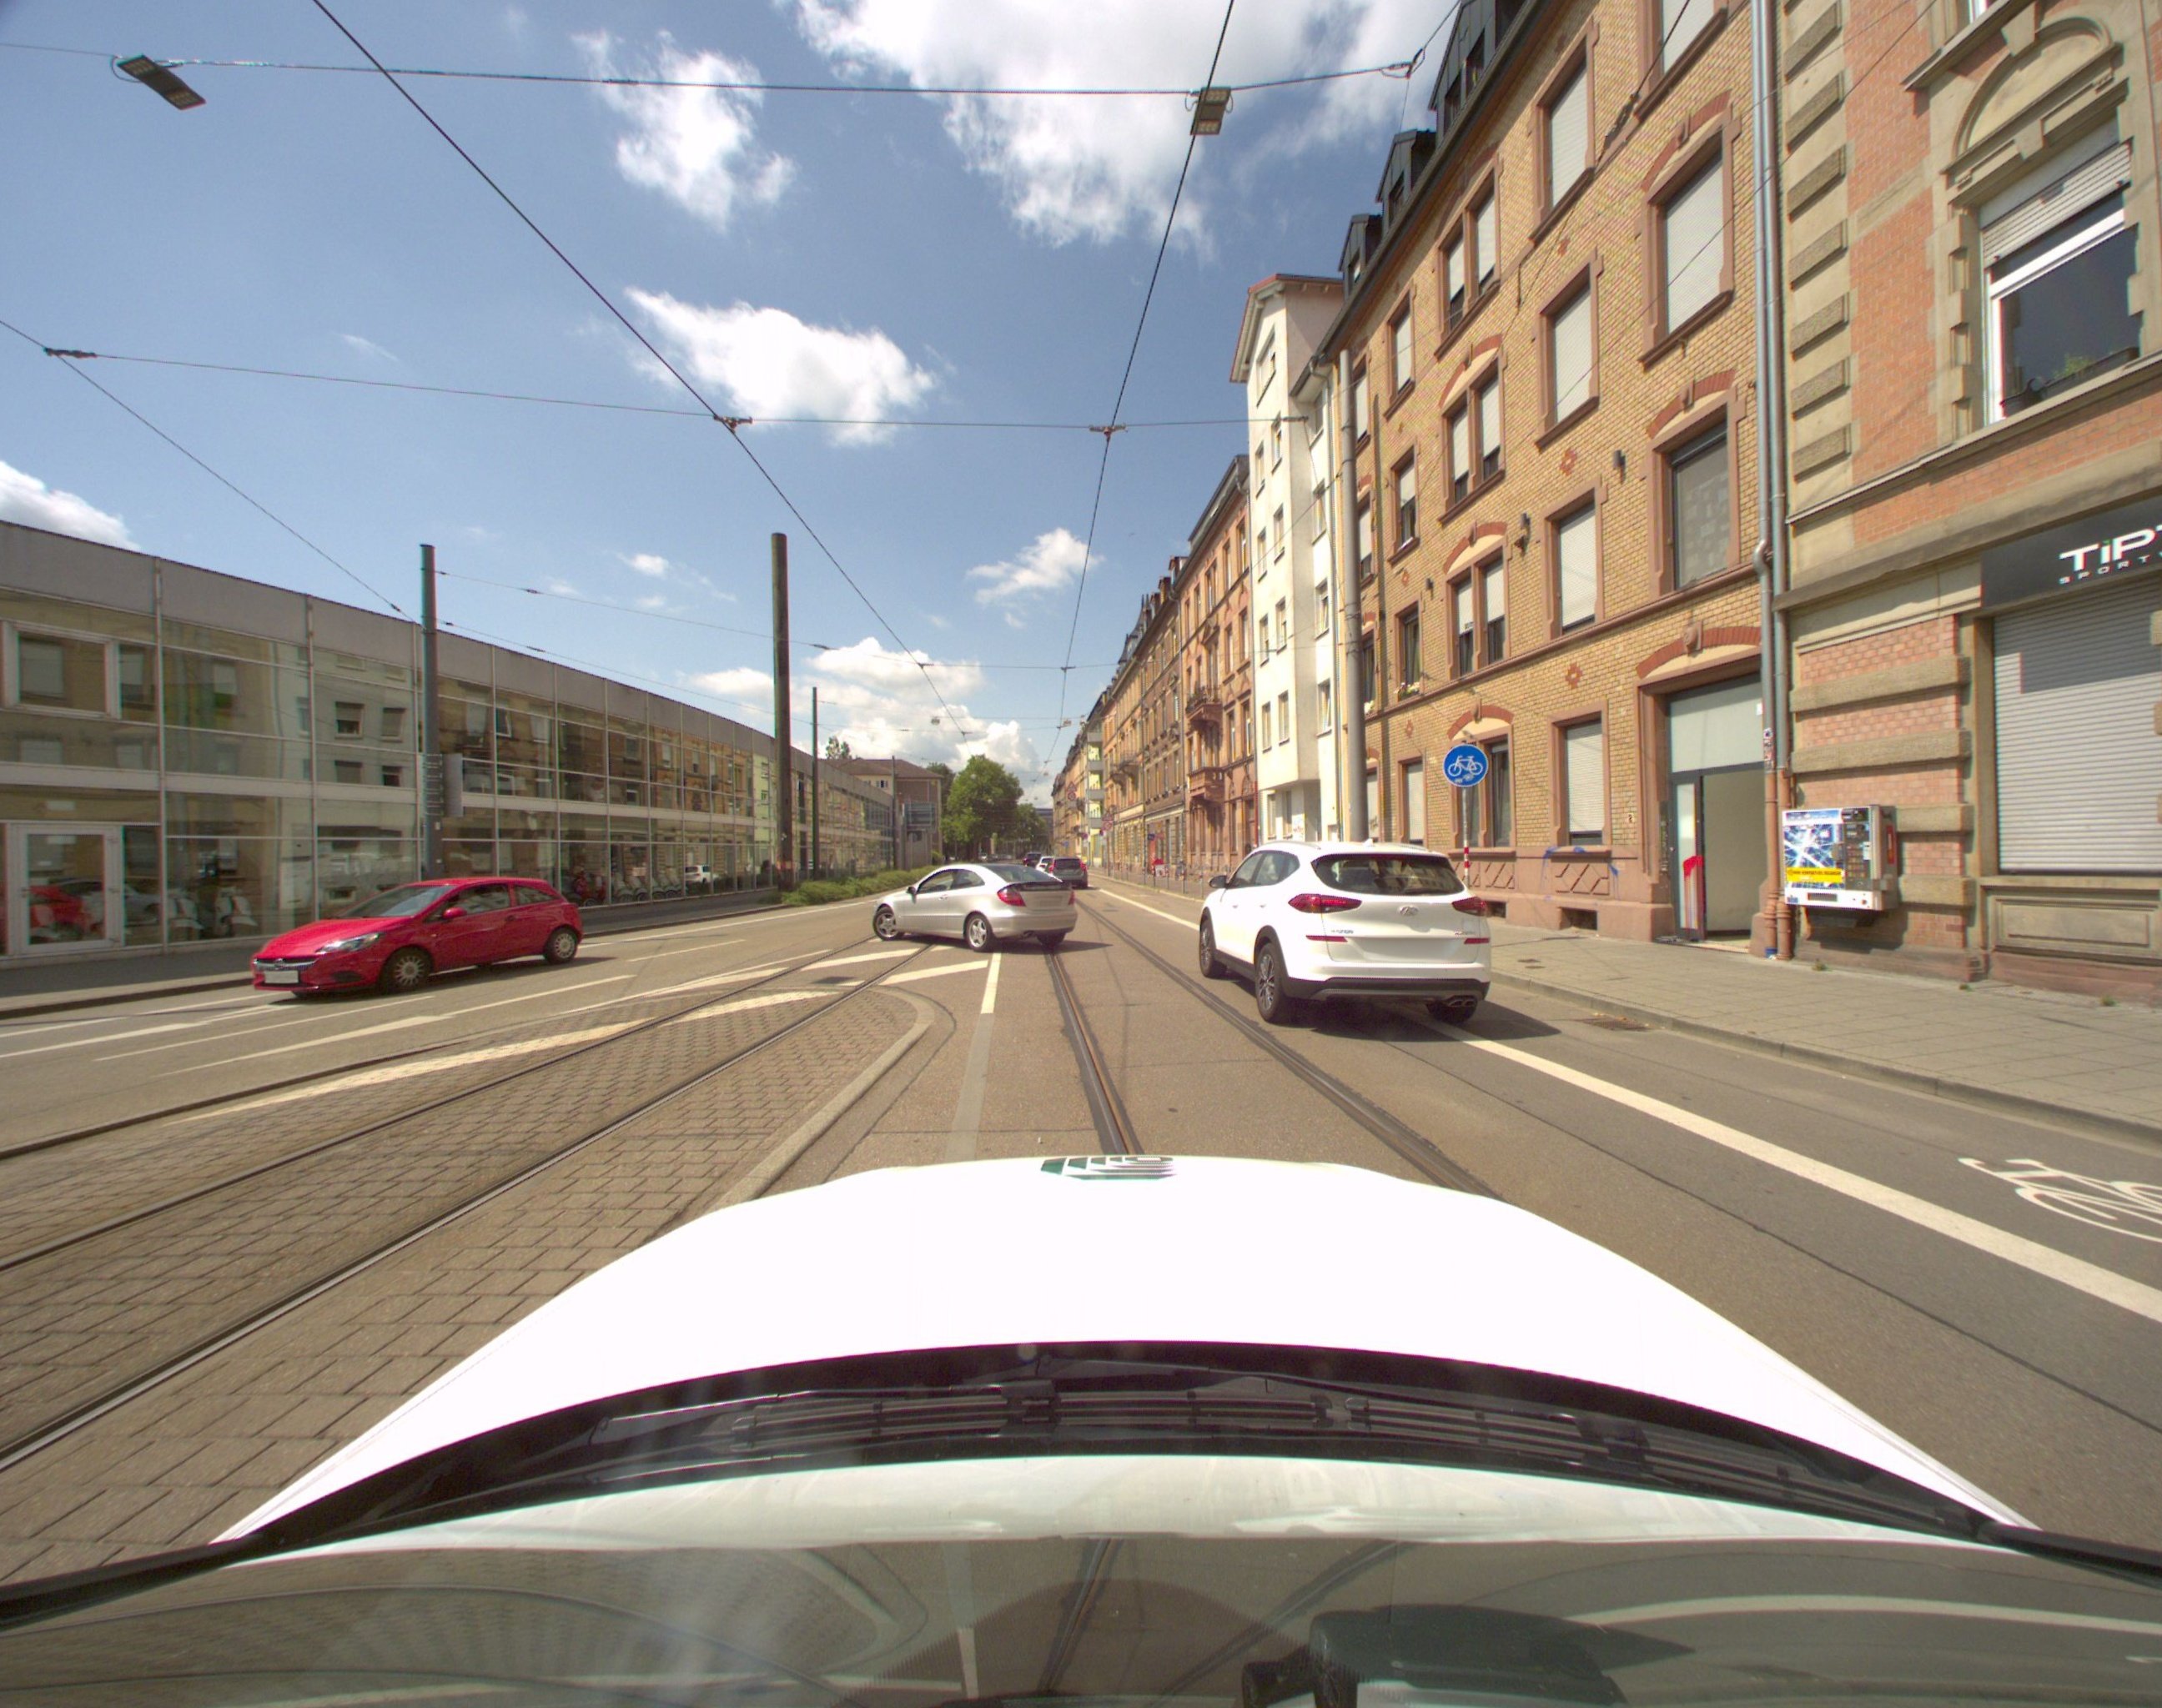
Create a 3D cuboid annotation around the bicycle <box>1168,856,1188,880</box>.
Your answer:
[{"bbox_3d":[4.954,0.691,41.730,0.585,1.178,2.202,-2,0,-4],"label":"bicycle"}]

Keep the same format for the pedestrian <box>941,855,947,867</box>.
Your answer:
[{"bbox_3d":[-20.984,1.067,124.707,0.878,1.865,1.079,-2,0,-5],"label":"pedestrian"}]

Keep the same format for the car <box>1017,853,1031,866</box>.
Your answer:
[{"bbox_3d":[-8.640,0.798,122.675,1.991,1.860,3.991,-1,0,-6],"label":"car"}]

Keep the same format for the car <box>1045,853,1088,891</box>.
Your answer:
[{"bbox_3d":[-0.696,0.766,36.711,1.810,1.524,4.081,-1,0,-2],"label":"car"}]

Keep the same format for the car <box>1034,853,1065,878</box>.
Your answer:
[{"bbox_3d":[-2.072,0.713,52.413,1.811,1.524,3.949,-1,0,-5],"label":"car"}]

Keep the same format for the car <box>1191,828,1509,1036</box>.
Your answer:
[{"bbox_3d":[2.430,0.645,8.564,1.847,1.634,4.177,0,-1,-2],"label":"car"}]

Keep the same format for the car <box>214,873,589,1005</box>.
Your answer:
[{"bbox_3d":[-9.402,1.080,11.760,1.691,1.428,3.914,-2,0,11],"label":"car"}]

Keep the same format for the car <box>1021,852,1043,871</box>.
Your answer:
[{"bbox_3d":[-4.385,0.633,72.015,1.811,1.661,4.078,-1,0,-5],"label":"car"}]

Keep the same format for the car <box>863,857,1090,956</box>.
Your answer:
[{"bbox_3d":[-1.951,0.813,14.221,1.831,1.420,4.136,-1,0,-43],"label":"car"}]
